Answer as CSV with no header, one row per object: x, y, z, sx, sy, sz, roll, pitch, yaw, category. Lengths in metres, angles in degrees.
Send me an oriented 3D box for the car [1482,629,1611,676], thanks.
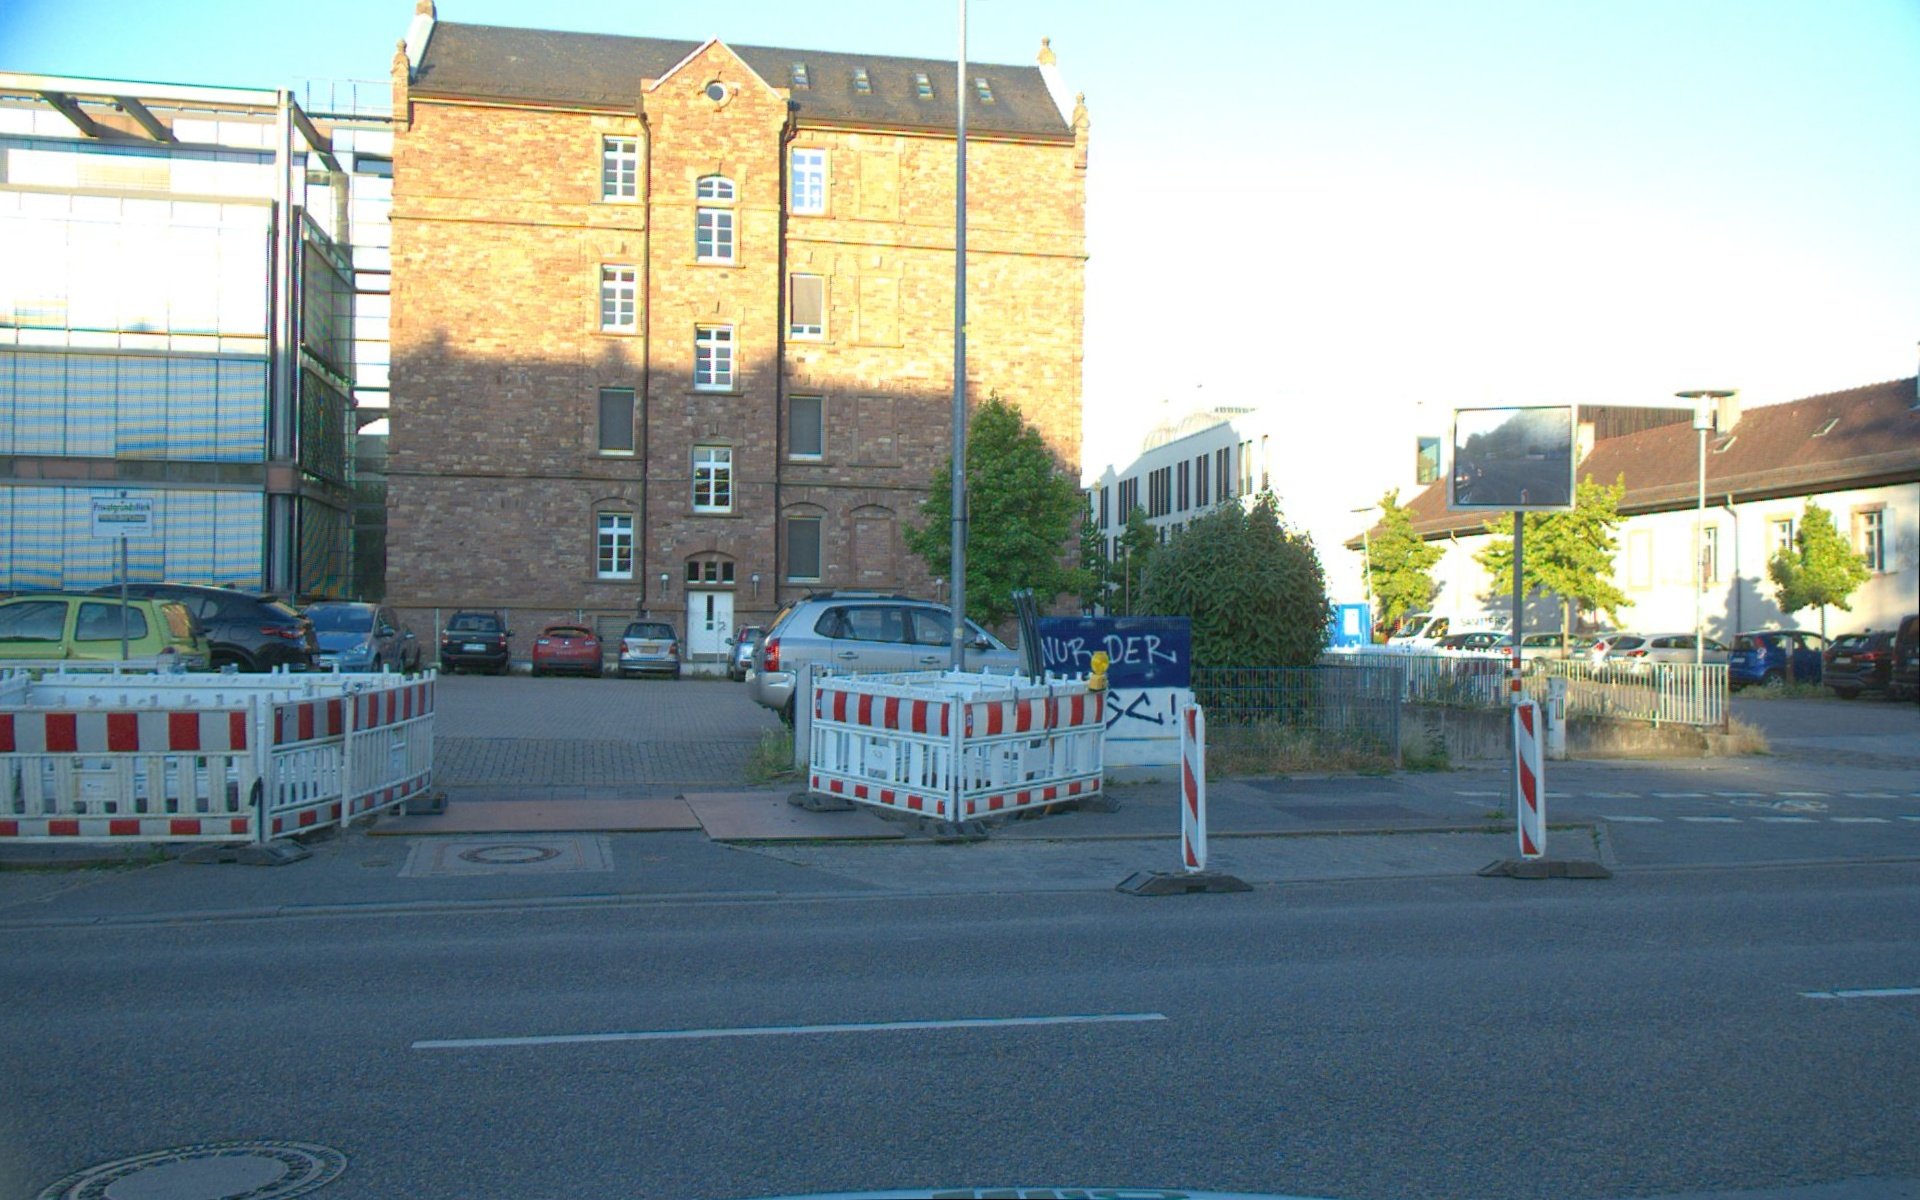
19.010,1.690,53.645,3.678,1.471,1.680,1,-2,-15,car

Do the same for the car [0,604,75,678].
-18.322,0.743,30.870,1.904,1.328,4.353,1,-1,-10,car

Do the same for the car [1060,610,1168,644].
6.143,1.073,66.102,3.917,1.336,1.872,0,-1,-12,car

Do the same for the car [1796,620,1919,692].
21.915,1.310,38.659,3.920,1.600,1.992,1,-2,-15,car

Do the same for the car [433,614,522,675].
-12.969,1.182,44.628,1.862,1.564,4.168,1,-1,-10,car

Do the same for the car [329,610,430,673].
-15.362,1.080,43.973,1.862,1.564,4.168,1,-1,-10,car

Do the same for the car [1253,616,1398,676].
10.300,1.285,46.691,3.678,1.631,1.680,0,-1,-15,car

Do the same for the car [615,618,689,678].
-8.388,1.280,45.140,1.862,1.564,4.168,1,-1,-10,car

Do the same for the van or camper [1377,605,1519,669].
18.030,1.372,61.114,4.879,2.280,1.680,1,-2,-15,van or camper

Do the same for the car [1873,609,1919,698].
22.151,1.170,35.809,3.920,1.891,1.992,1,-2,-15,car

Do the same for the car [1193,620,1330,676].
8.976,1.430,49.342,3.678,1.631,1.680,1,-2,-15,car

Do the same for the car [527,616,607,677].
-10.559,1.232,44.649,1.862,1.564,4.168,1,-1,-10,car

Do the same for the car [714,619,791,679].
-5.767,1.317,45.692,1.862,1.564,4.168,1,-1,-10,car

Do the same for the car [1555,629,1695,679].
20.117,1.624,50.065,3.678,1.471,1.680,1,-2,-15,car

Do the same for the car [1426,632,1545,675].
18.384,1.875,57.945,3.678,1.471,1.680,1,-2,-15,car

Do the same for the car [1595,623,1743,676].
20.321,1.422,47.453,3.678,1.471,1.680,1,-2,-15,car

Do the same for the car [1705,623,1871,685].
21.437,1.392,42.851,3.678,1.556,1.680,1,-2,-15,car

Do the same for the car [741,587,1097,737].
-0.552,0.745,20.534,4.194,1.739,1.697,0,-1,-12,car

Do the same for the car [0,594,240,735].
-10.311,0.710,18.814,3.565,1.530,1.633,0,-1,-10,car

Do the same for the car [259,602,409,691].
-12.133,0.882,32.351,1.957,1.604,4.353,1,-1,-10,car

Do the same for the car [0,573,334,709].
-10.591,0.526,21.254,4.499,1.667,1.572,0,-1,-10,car
